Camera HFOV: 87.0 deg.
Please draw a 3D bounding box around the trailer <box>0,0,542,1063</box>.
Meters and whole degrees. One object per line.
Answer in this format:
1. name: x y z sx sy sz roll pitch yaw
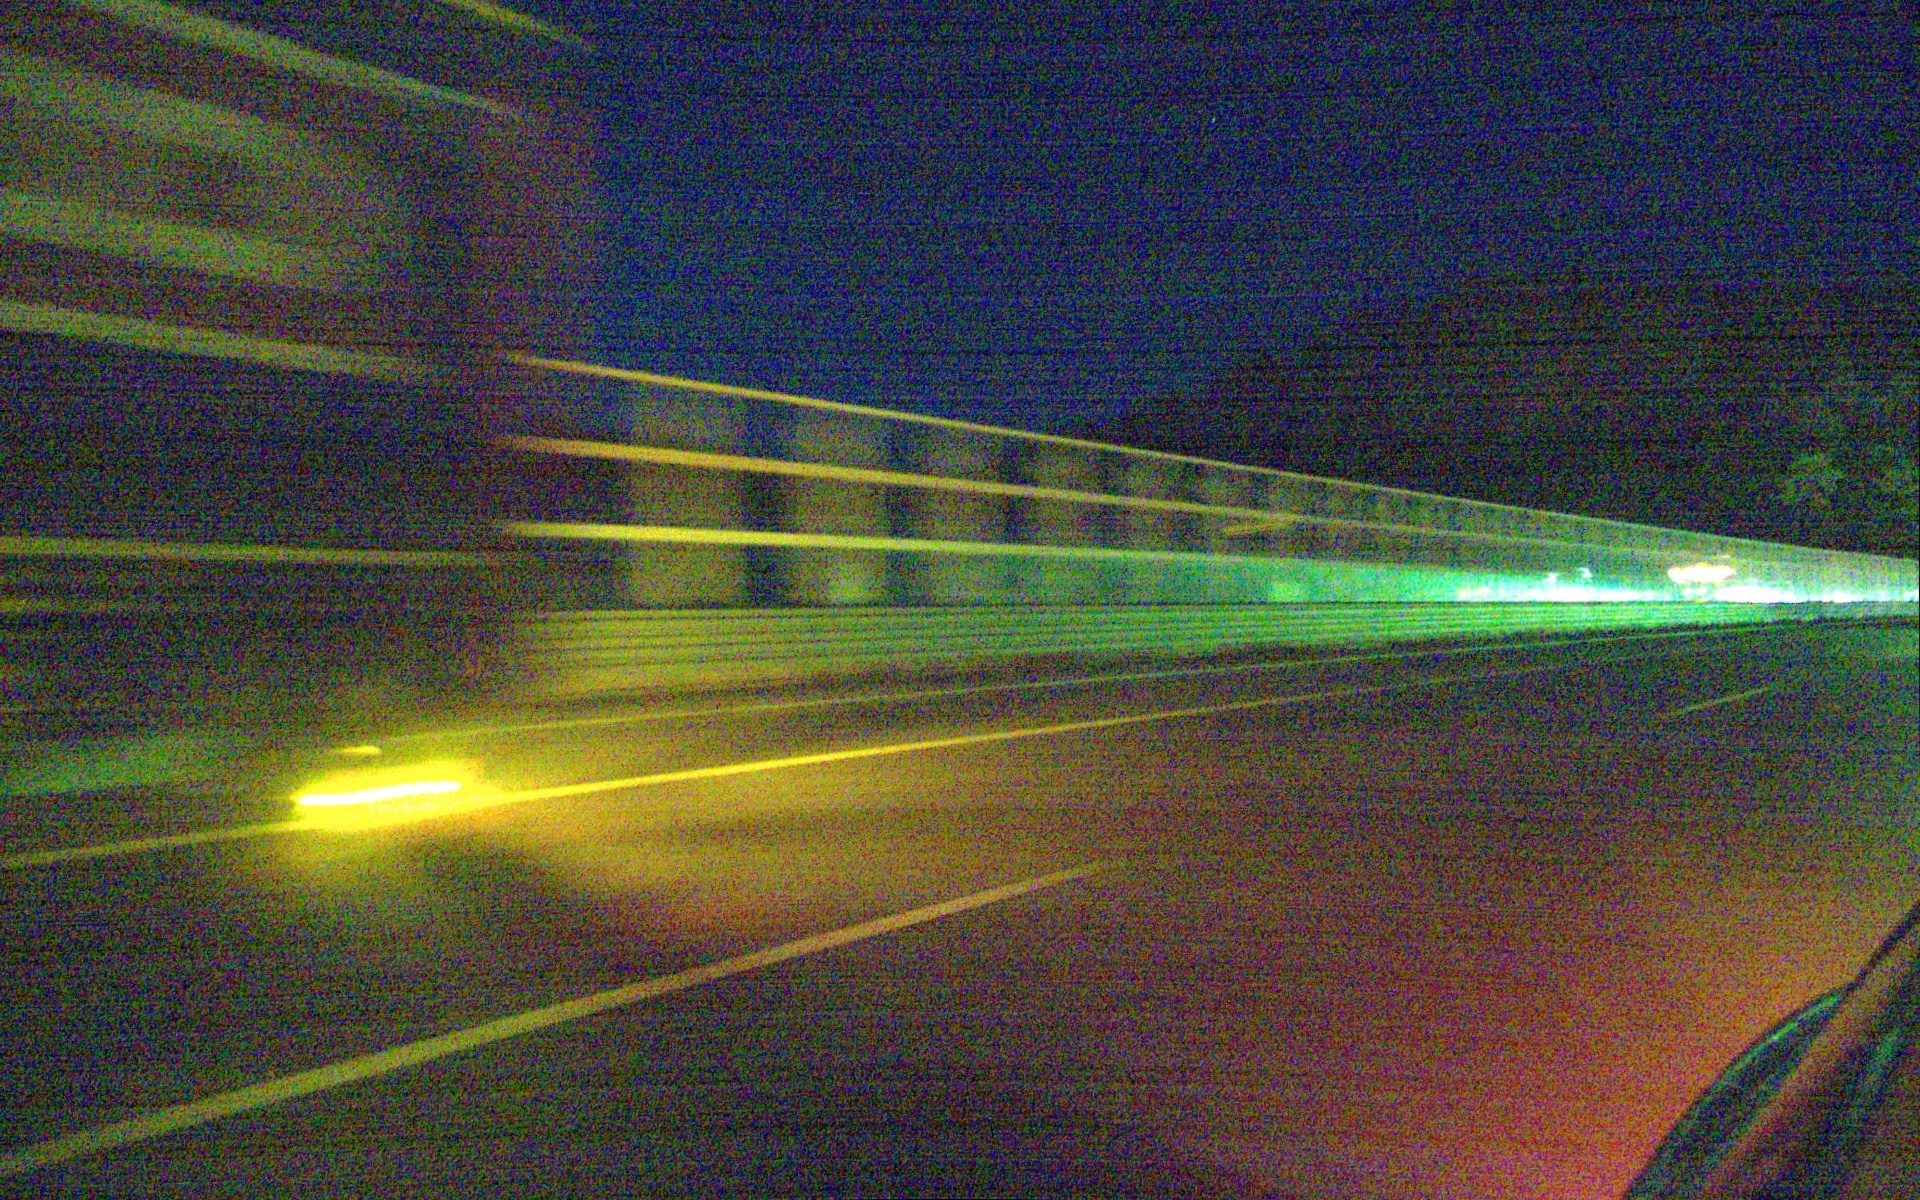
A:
1. trailer: -7.472 -0.665 0.846 12.978 4.118 2.858 0 1 -42
